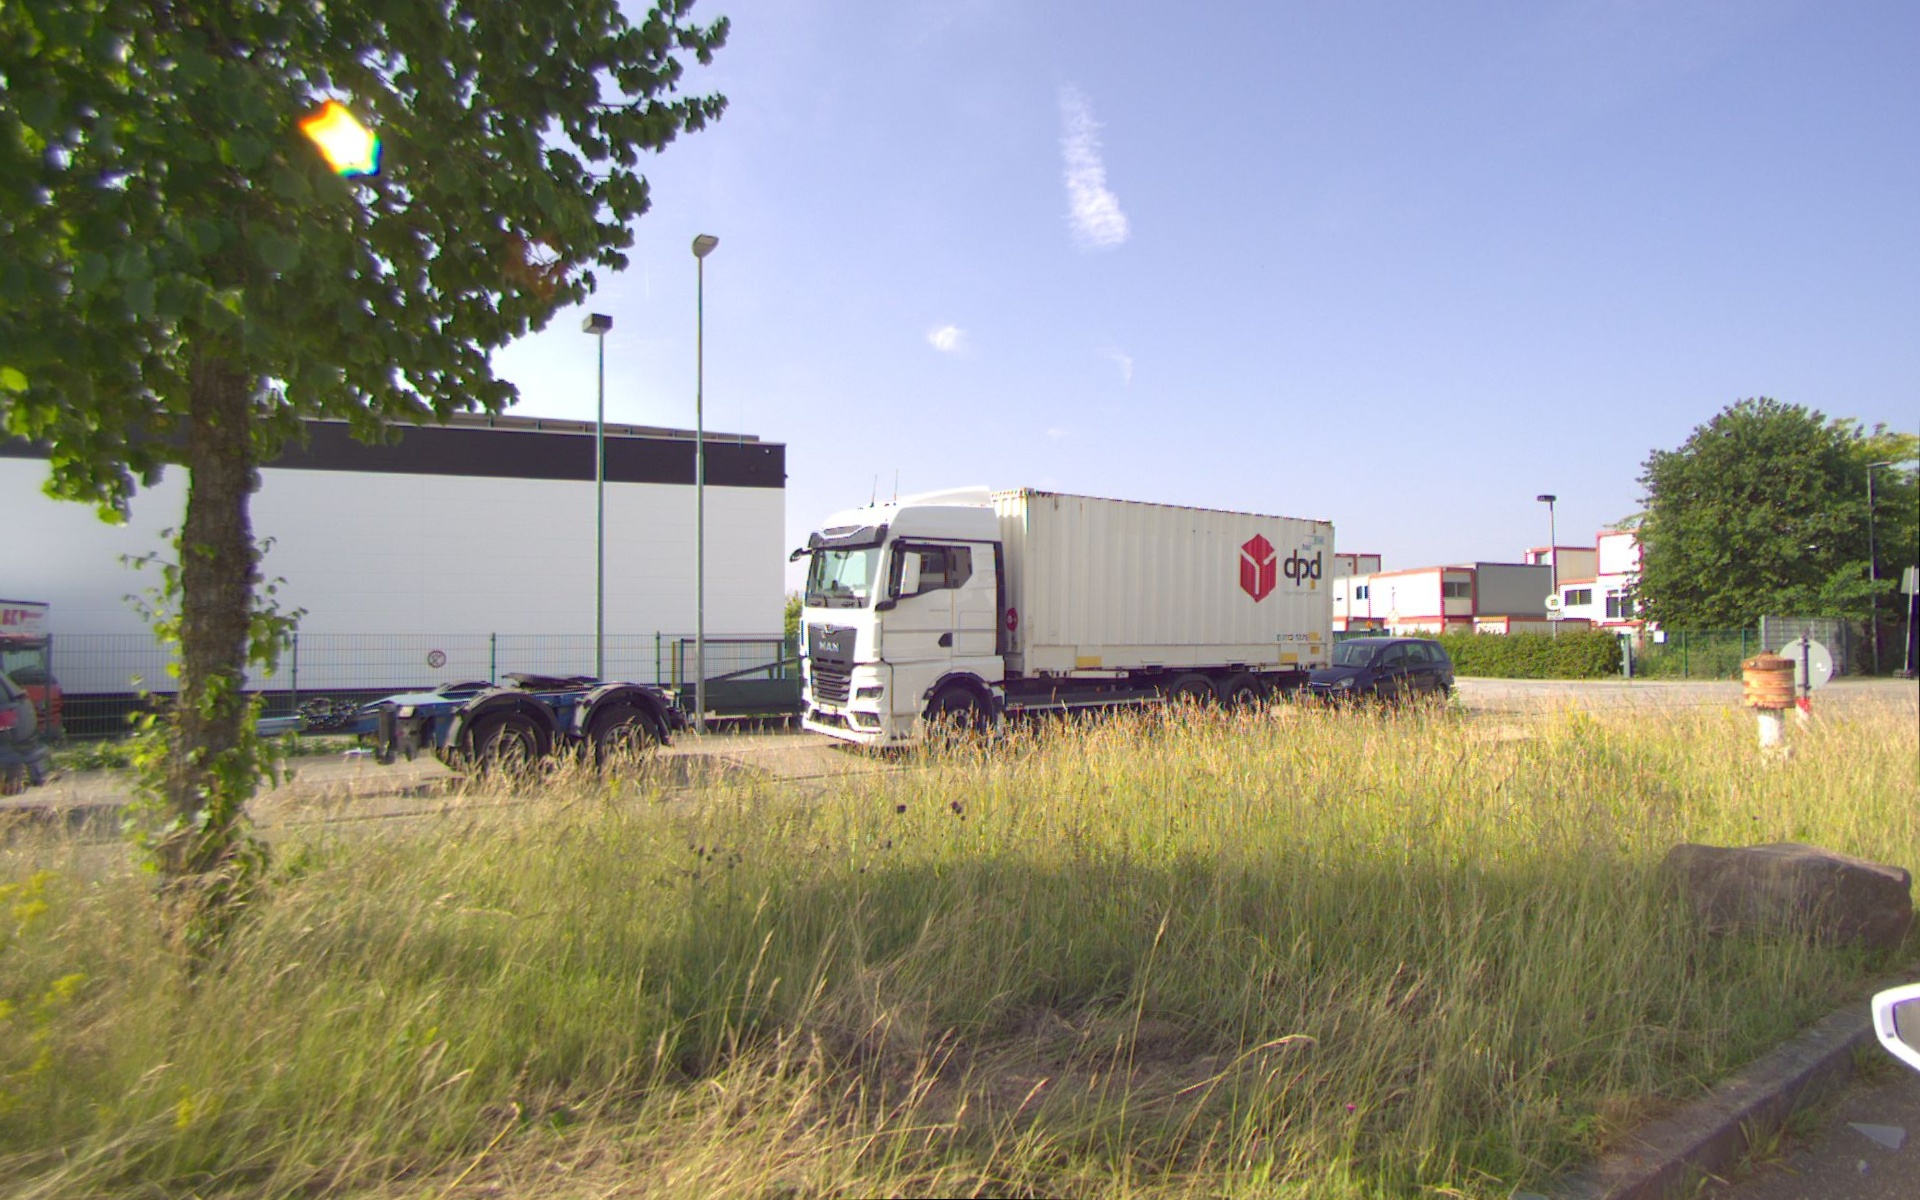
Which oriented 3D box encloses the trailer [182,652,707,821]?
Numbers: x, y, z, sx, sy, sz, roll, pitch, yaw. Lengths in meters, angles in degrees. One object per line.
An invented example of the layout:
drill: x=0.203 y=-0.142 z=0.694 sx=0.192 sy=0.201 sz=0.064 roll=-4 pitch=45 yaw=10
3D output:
trailer: x=-5.867 y=1.412 z=11.918 sx=5.021 sy=1.472 sz=2.667 roll=1 pitch=-2 yaw=-32

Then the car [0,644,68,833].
car: x=-10.476 y=1.214 z=8.388 sx=4.290 sy=1.582 sz=1.686 roll=1 pitch=0 yaw=-34

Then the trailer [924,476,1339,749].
trailer: x=3.266 y=0.333 z=17.847 sx=7.498 sy=3.973 sz=2.683 roll=3 pitch=-2 yaw=-34

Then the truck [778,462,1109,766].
truck: x=-0.230 y=0.270 z=15.442 sx=4.253 sy=3.973 sz=2.692 roll=2 pitch=-2 yaw=-34

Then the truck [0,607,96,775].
truck: x=-25.578 y=2.062 z=23.891 sx=6.904 sy=3.922 sz=2.763 roll=2 pitch=-1 yaw=-19

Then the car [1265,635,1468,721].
car: x=8.875 y=1.596 z=21.810 sx=4.543 sy=1.662 sz=1.980 roll=1 pitch=-2 yaw=-36
